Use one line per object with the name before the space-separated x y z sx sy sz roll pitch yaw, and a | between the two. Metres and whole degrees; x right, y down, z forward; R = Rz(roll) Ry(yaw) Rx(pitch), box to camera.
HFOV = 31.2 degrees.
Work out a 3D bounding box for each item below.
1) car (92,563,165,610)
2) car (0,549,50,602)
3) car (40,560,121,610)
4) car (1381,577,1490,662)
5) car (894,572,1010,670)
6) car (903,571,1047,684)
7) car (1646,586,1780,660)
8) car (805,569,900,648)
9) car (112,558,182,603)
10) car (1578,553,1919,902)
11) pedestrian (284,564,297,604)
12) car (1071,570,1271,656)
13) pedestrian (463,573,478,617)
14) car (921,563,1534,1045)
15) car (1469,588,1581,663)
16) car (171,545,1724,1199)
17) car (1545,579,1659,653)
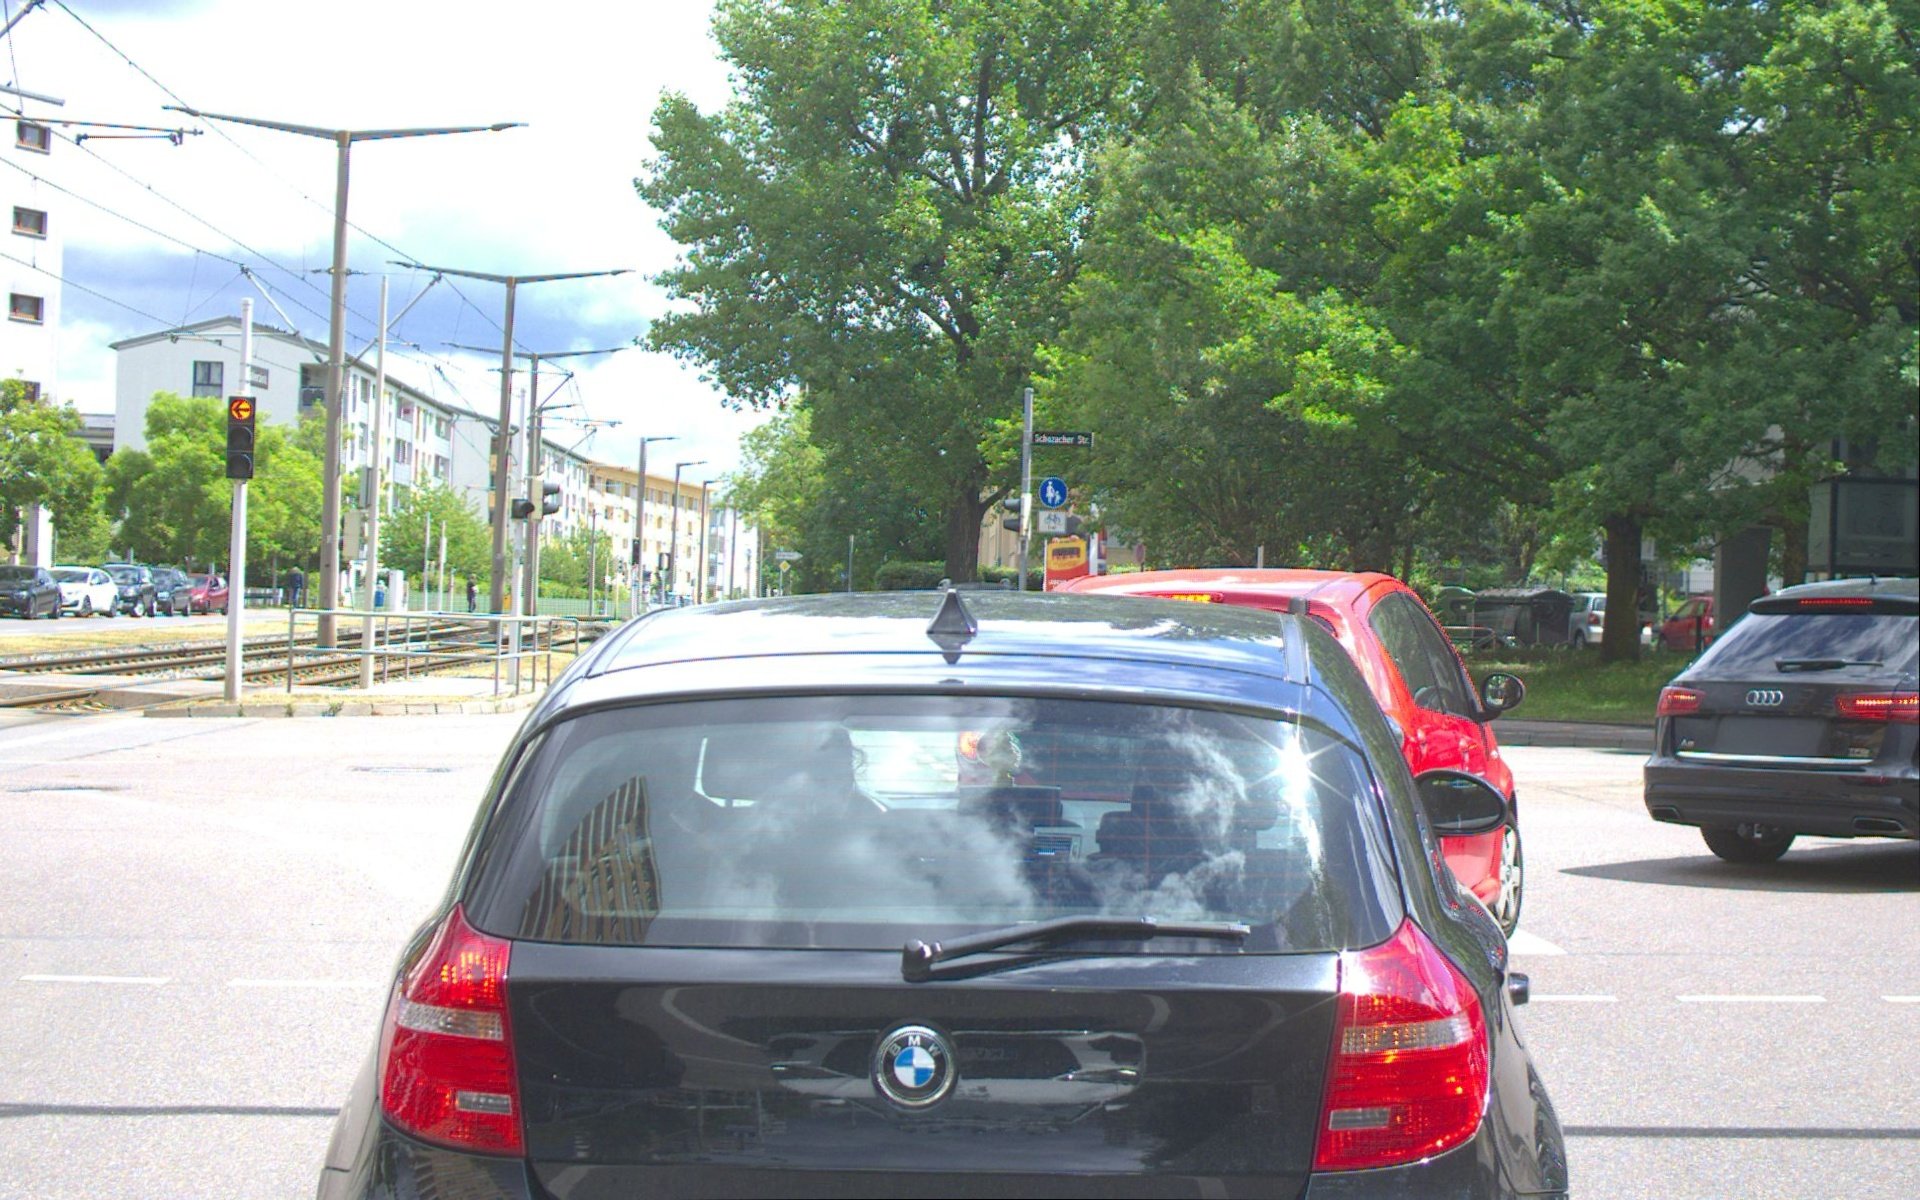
car | -25.942 -0.421 107.339 1.761 1.390 4.001 1 1 -7
car | -25.940 -0.694 93.481 1.761 1.390 4.001 1 1 -7
car | -25.820 -0.467 101.013 1.761 1.390 4.001 1 1 -7
car | 10.576 0.412 76.729 1.630 1.804 4.033 1 1 -3
car | -0.147 0.376 61.663 1.993 1.678 4.000 1 0 0
car | 0.213 0.422 54.214 2.152 1.678 4.000 1 0 0
car | 17.349 0.508 79.365 1.730 1.589 4.001 1 1 -8
car | -2.387 0.171 77.083 1.993 1.678 4.000 1 1 0
car | -26.509 -0.638 112.160 1.761 1.390 4.001 1 1 -7
car | 5.353 0.568 17.480 4.508 1.548 1.999 0 0 -42
pedestrian | -27.370 -0.642 140.546 0.452 1.631 0.480 1 1 -5
car | 4.646 0.288 75.720 3.986 1.817 1.779 1 1 -22
pedestrian | -18.408 -0.187 129.365 0.478 1.631 0.454 1 1 -1
car | 1.068 0.603 12.233 1.543 1.436 3.193 1 1 16
car | 12.747 0.557 77.771 1.630 1.567 4.033 1 1 -3
car | -0.038 0.668 5.916 1.752 1.482 4.000 1 1 0
car | 14.710 0.355 78.970 1.630 1.589 4.001 1 1 -3
